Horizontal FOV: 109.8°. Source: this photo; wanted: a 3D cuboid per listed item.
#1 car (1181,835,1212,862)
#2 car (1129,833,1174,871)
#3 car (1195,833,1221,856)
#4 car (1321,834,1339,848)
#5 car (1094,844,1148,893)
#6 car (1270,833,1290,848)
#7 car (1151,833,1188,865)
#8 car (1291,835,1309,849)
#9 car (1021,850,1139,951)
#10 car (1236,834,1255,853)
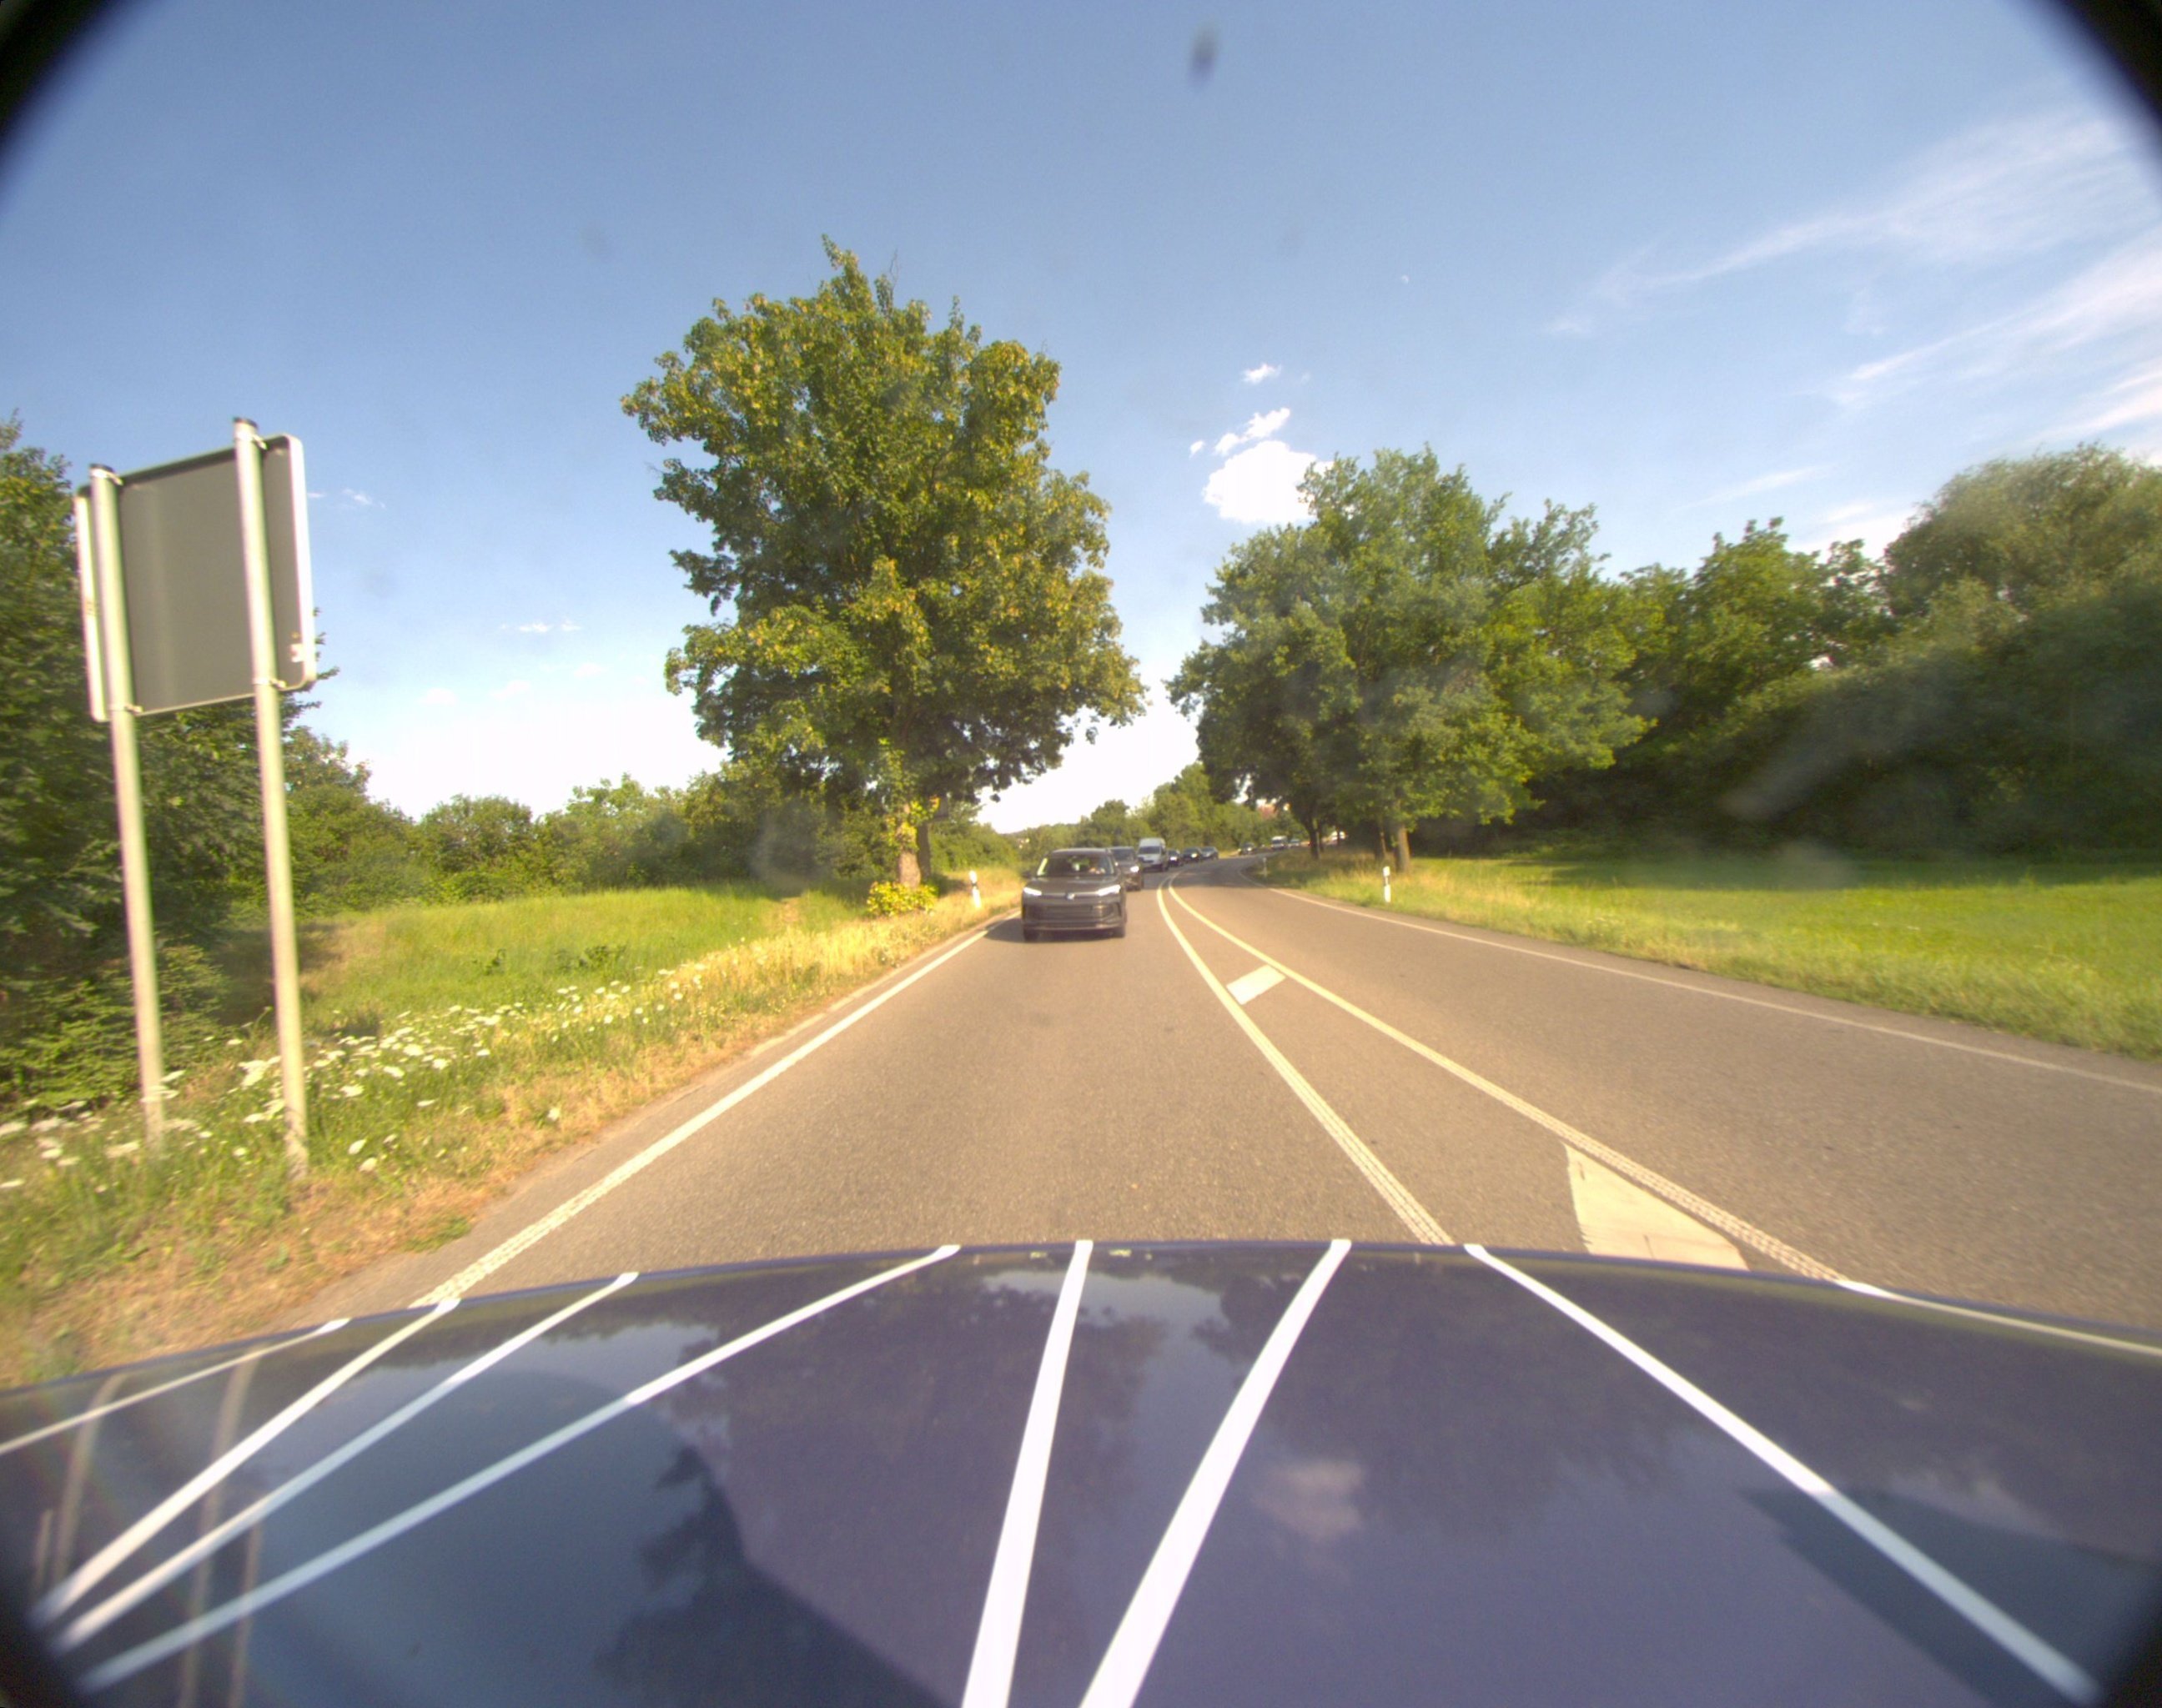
[{"bbox_3d":[11.171,-0.584,73.228,2.086,2.403,5.147,-2,1,17],"label":"car"},{"bbox_3d":[4.907,-0.196,52.406,2.086,2.403,5.147,-2,1,16],"label":"car"},{"bbox_3d":[14.211,-1.126,84.660,2.086,2.403,5.147,-2,1,17],"label":"car"},{"bbox_3d":[44.764,-2.346,136.589,2.085,2.403,5.150,-2,1,28],"label":"car"},{"bbox_3d":[1.603,0.537,30.477,1.922,1.719,4.702,-3,0,3],"label":"car"},{"bbox_3d":[34.299,-2.317,131.035,2.085,2.403,5.150,-2,1,28],"label":"car"},{"bbox_3d":[7.324,-0.453,62.548,2.086,2.403,5.147,-2,1,17],"label":"car"},{"bbox_3d":[41.697,-2.349,144.668,2.085,2.403,5.150,-2,1,28],"label":"car"},{"bbox_3d":[0.108,0.773,15.081,1.922,1.612,4.702,-3,0,3],"label":"car"},{"bbox_3d":[22.725,-1.508,105.097,2.086,2.403,5.147,-2,1,17],"label":"car"}]
